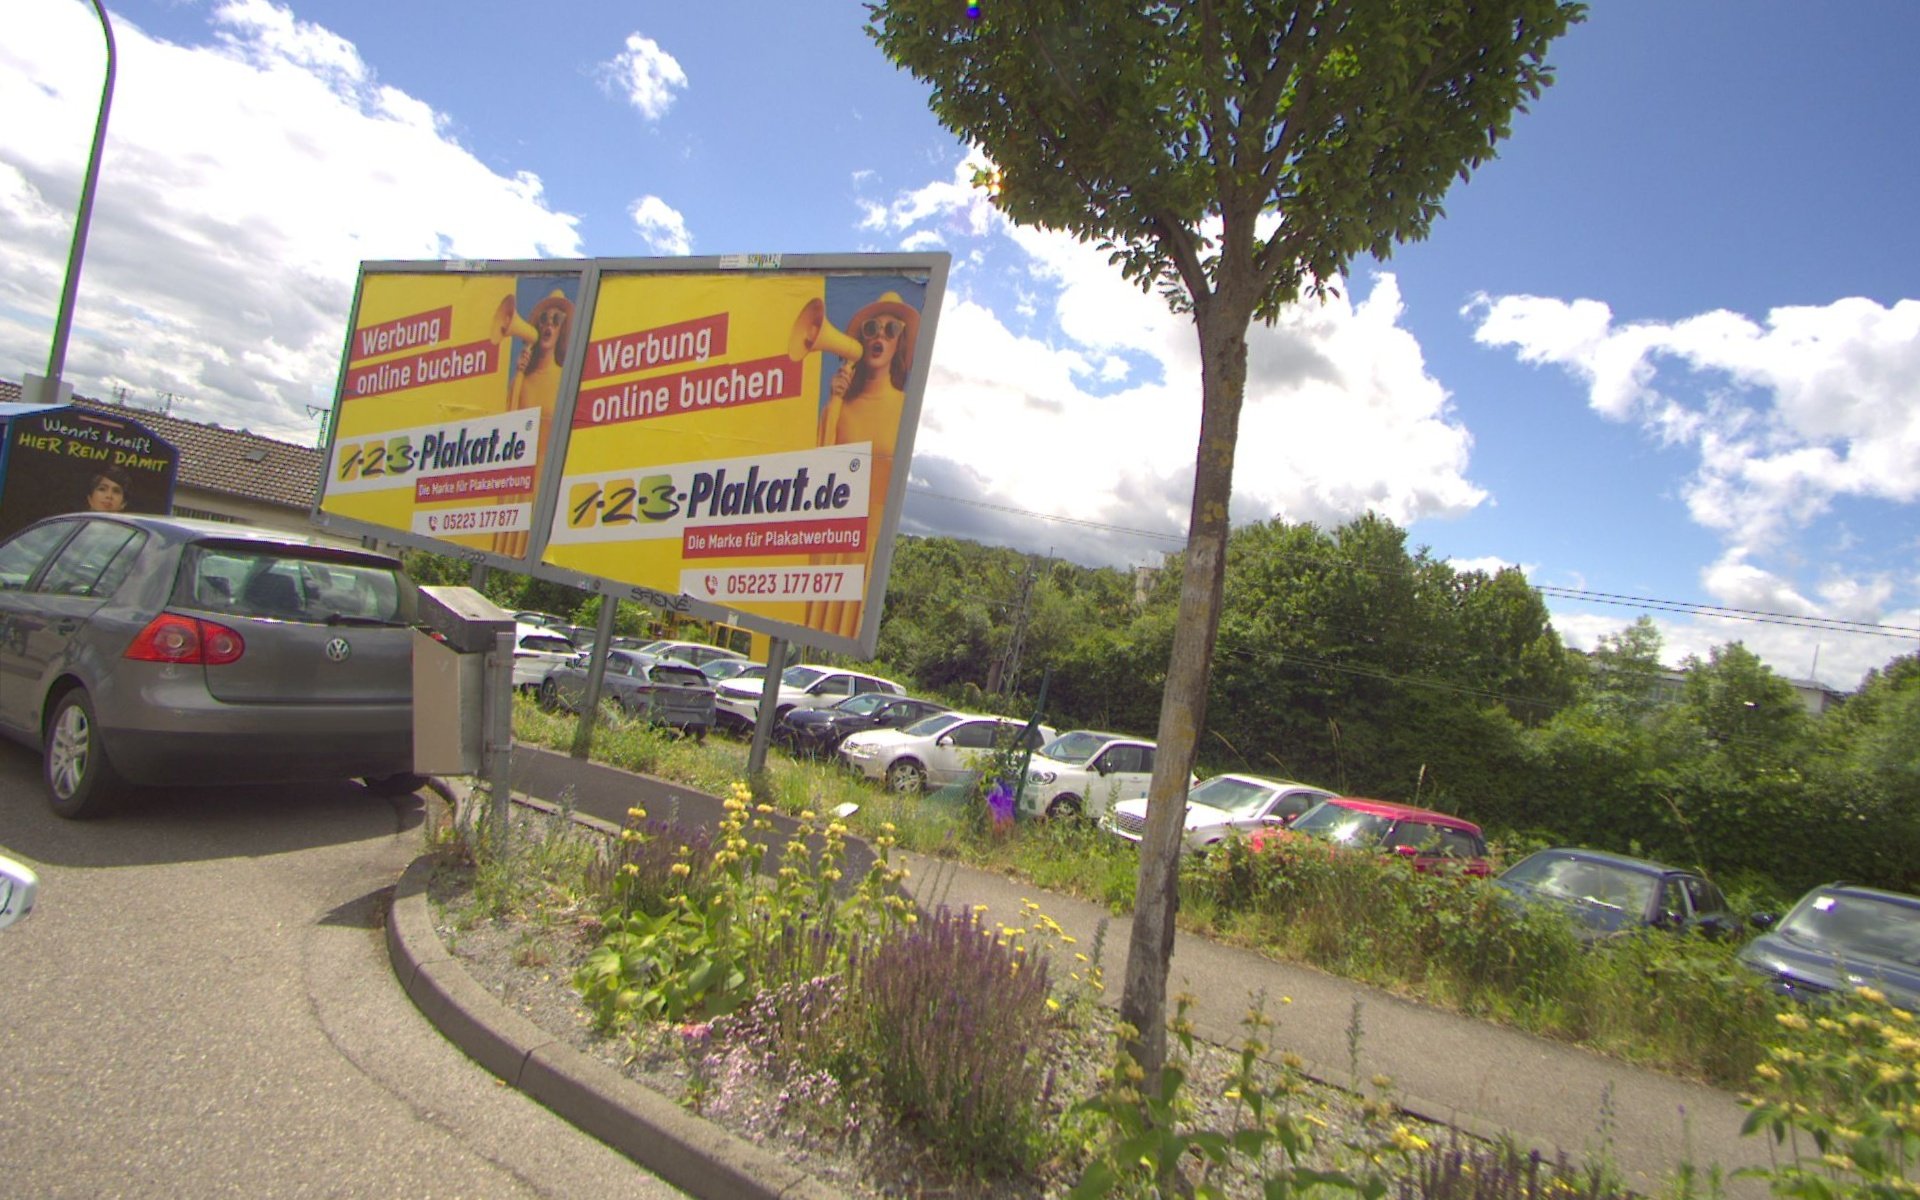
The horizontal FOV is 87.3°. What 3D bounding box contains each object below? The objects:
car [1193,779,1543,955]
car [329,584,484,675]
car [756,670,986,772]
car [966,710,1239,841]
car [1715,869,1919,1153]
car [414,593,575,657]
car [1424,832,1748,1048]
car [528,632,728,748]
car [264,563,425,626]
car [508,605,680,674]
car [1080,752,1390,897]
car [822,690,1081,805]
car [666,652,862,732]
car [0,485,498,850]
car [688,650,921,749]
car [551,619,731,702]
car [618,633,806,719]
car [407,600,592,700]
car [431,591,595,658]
[{"bbox_3d":[5.028,3.224,12.319,3.959,1.503,1.800,9,-2,-30],"label":"car"},{"bbox_3d":[-13.685,0.702,24.769,4.400,1.641,1.810,7,-1,41],"label":"car"},{"bbox_3d":[-1.619,2.331,19.137,3.974,1.458,1.718,10,-2,-40],"label":"car"},{"bbox_3d":[2.323,2.832,16.161,3.959,1.558,1.774,9,-2,-30],"label":"car"},{"bbox_3d":[8.502,3.537,9.066,3.972,1.654,1.698,10,-2,-39],"label":"car"},{"bbox_3d":[-14.367,0.787,31.168,4.155,1.406,1.771,8,-1,-38],"label":"car"},{"bbox_3d":[6.796,3.427,10.754,3.972,1.462,1.658,10,-2,-39],"label":"car"},{"bbox_3d":[-6.294,1.633,18.835,4.098,1.462,1.693,7,-3,44],"label":"car"},{"bbox_3d":[-18.973,-0.159,31.213,3.995,1.406,1.515,8,-1,-27],"label":"car"},{"bbox_3d":[-10.008,1.116,27.693,4.020,1.406,1.722,8,-1,-44],"label":"car"},{"bbox_3d":[3.831,3.109,13.889,3.959,1.467,1.732,10,-2,-30],"label":"car"},{"bbox_3d":[-0.126,2.541,17.274,3.992,1.369,1.727,9,-2,-27],"label":"car"},{"bbox_3d":[-4.392,2.129,22.955,3.979,1.345,1.734,10,-3,-44],"label":"car"},{"bbox_3d":[-4.830,0.199,6.100,3.978,1.503,1.657,7,-1,32],"label":"car"},{"bbox_3d":[-3.156,2.136,21.159,1.973,1.572,4.442,7,-3,43],"label":"car"},{"bbox_3d":[-8.251,1.603,26.232,3.979,1.630,1.774,10,-3,-44],"label":"car"},{"bbox_3d":[-6.029,1.895,24.743,3.979,1.576,1.800,10,-3,-44],"label":"car"},{"bbox_3d":[-10.080,1.053,21.864,4.515,1.536,1.751,7,-1,39],"label":"car"},{"bbox_3d":[-12.904,0.734,29.143,3.970,1.406,1.580,8,-1,-38],"label":"car"}]
